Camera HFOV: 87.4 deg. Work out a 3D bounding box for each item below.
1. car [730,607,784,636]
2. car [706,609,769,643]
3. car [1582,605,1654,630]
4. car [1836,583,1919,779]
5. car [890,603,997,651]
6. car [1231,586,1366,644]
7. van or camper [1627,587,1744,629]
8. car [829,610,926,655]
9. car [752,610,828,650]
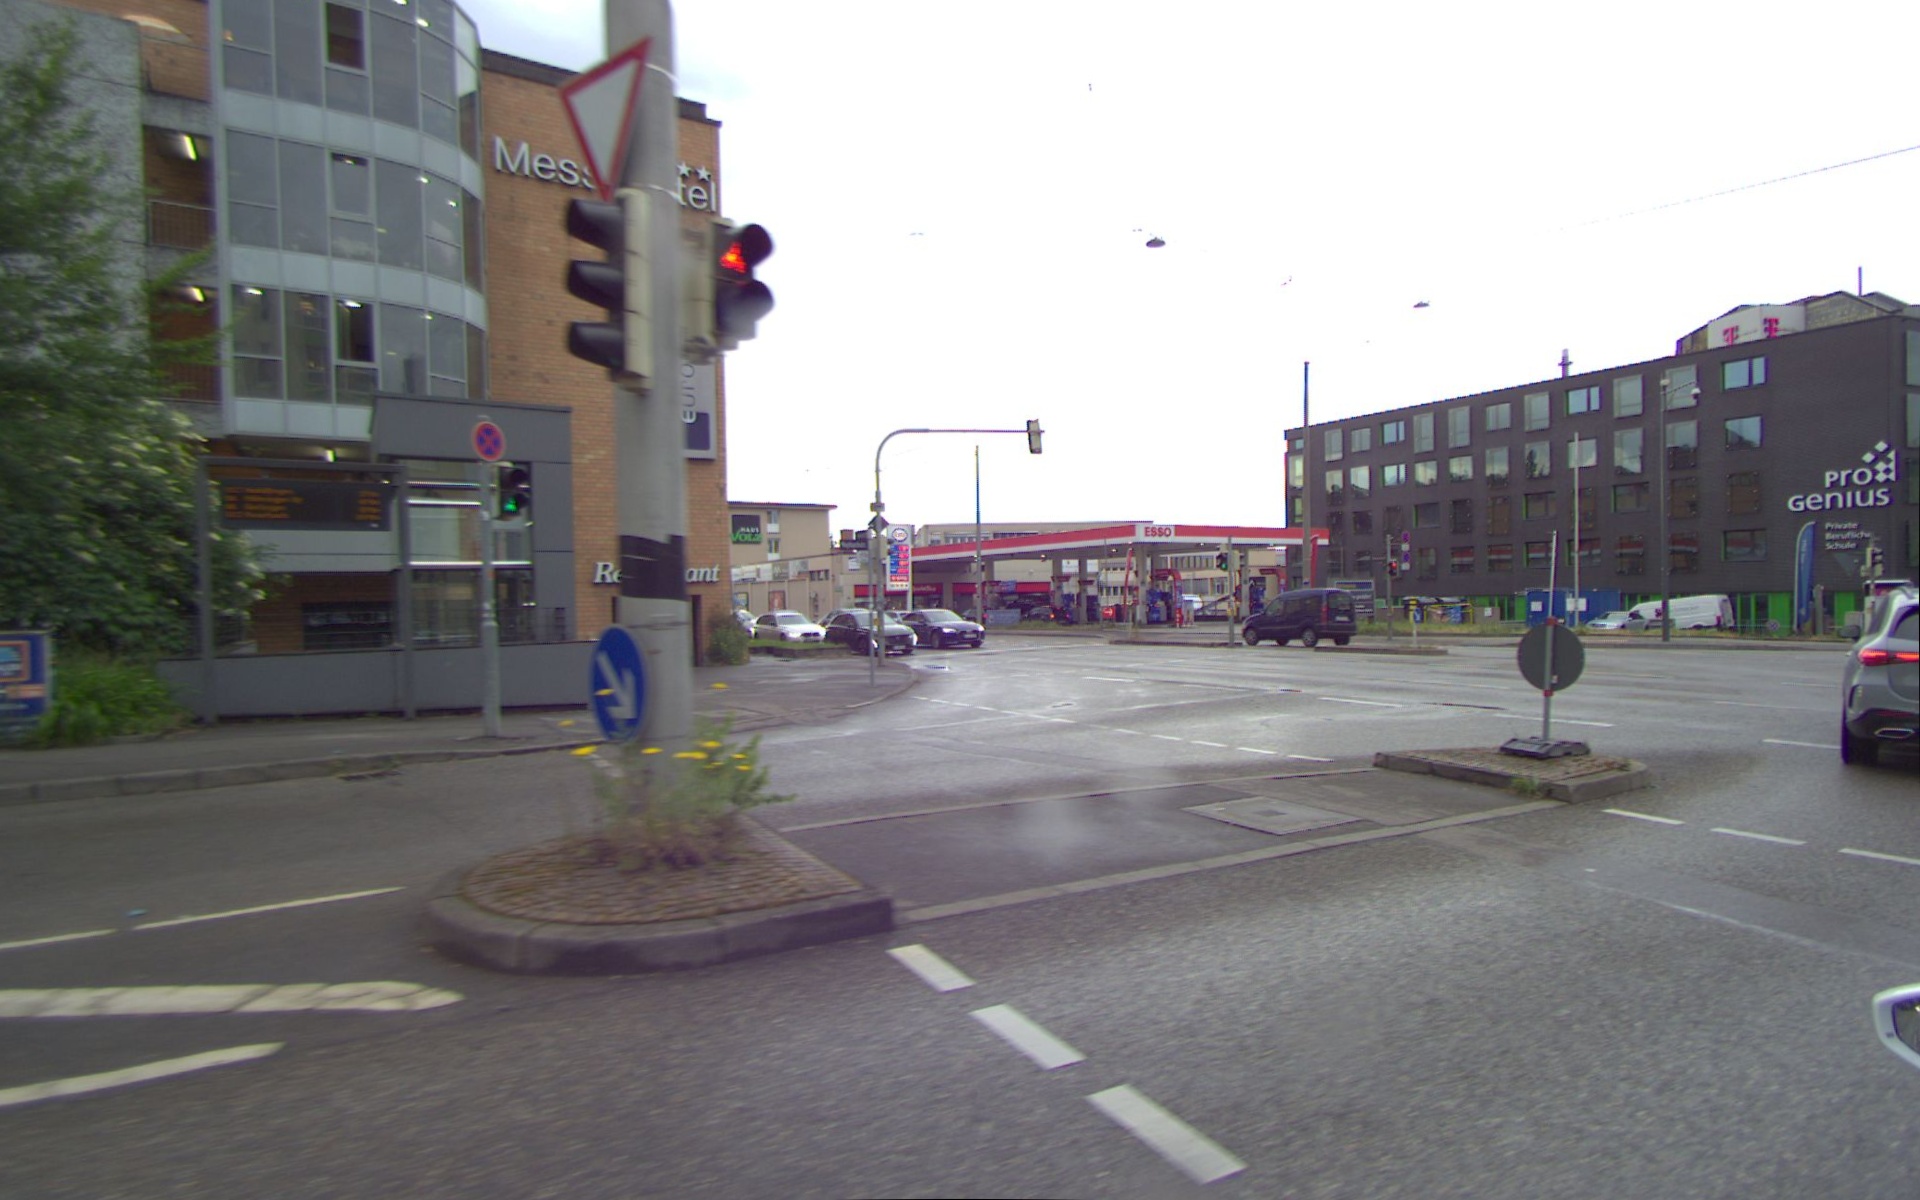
[{"bbox_3d":[-11.079,1.151,54.579,1.677,1.419,4.057,-3,1,-29],"label":"car"},{"bbox_3d":[-10.291,1.172,46.198,1.677,1.419,4.057,-3,1,-29],"label":"car"},{"bbox_3d":[37.559,0.993,57.322,3.950,1.305,1.789,2,1,-28],"label":"car"},{"bbox_3d":[9.801,0.661,9.798,1.886,1.654,4.188,0,1,41],"label":"car"},{"bbox_3d":[-0.672,0.921,36.378,1.944,1.546,4.225,-3,1,-32],"label":"car"},{"bbox_3d":[11.060,0.476,33.079,1.835,1.792,4.102,0,0,-27],"label":"car"},{"bbox_3d":[45.367,0.497,62.937,2.709,2.400,5.300,1,1,-32],"label":"van or camper"},{"bbox_3d":[-2.825,1.056,33.773,1.632,1.339,3.966,-3,1,-31],"label":"car"},{"bbox_3d":[-6.776,1.144,39.762,1.677,1.419,4.057,-3,1,-29],"label":"car"}]
